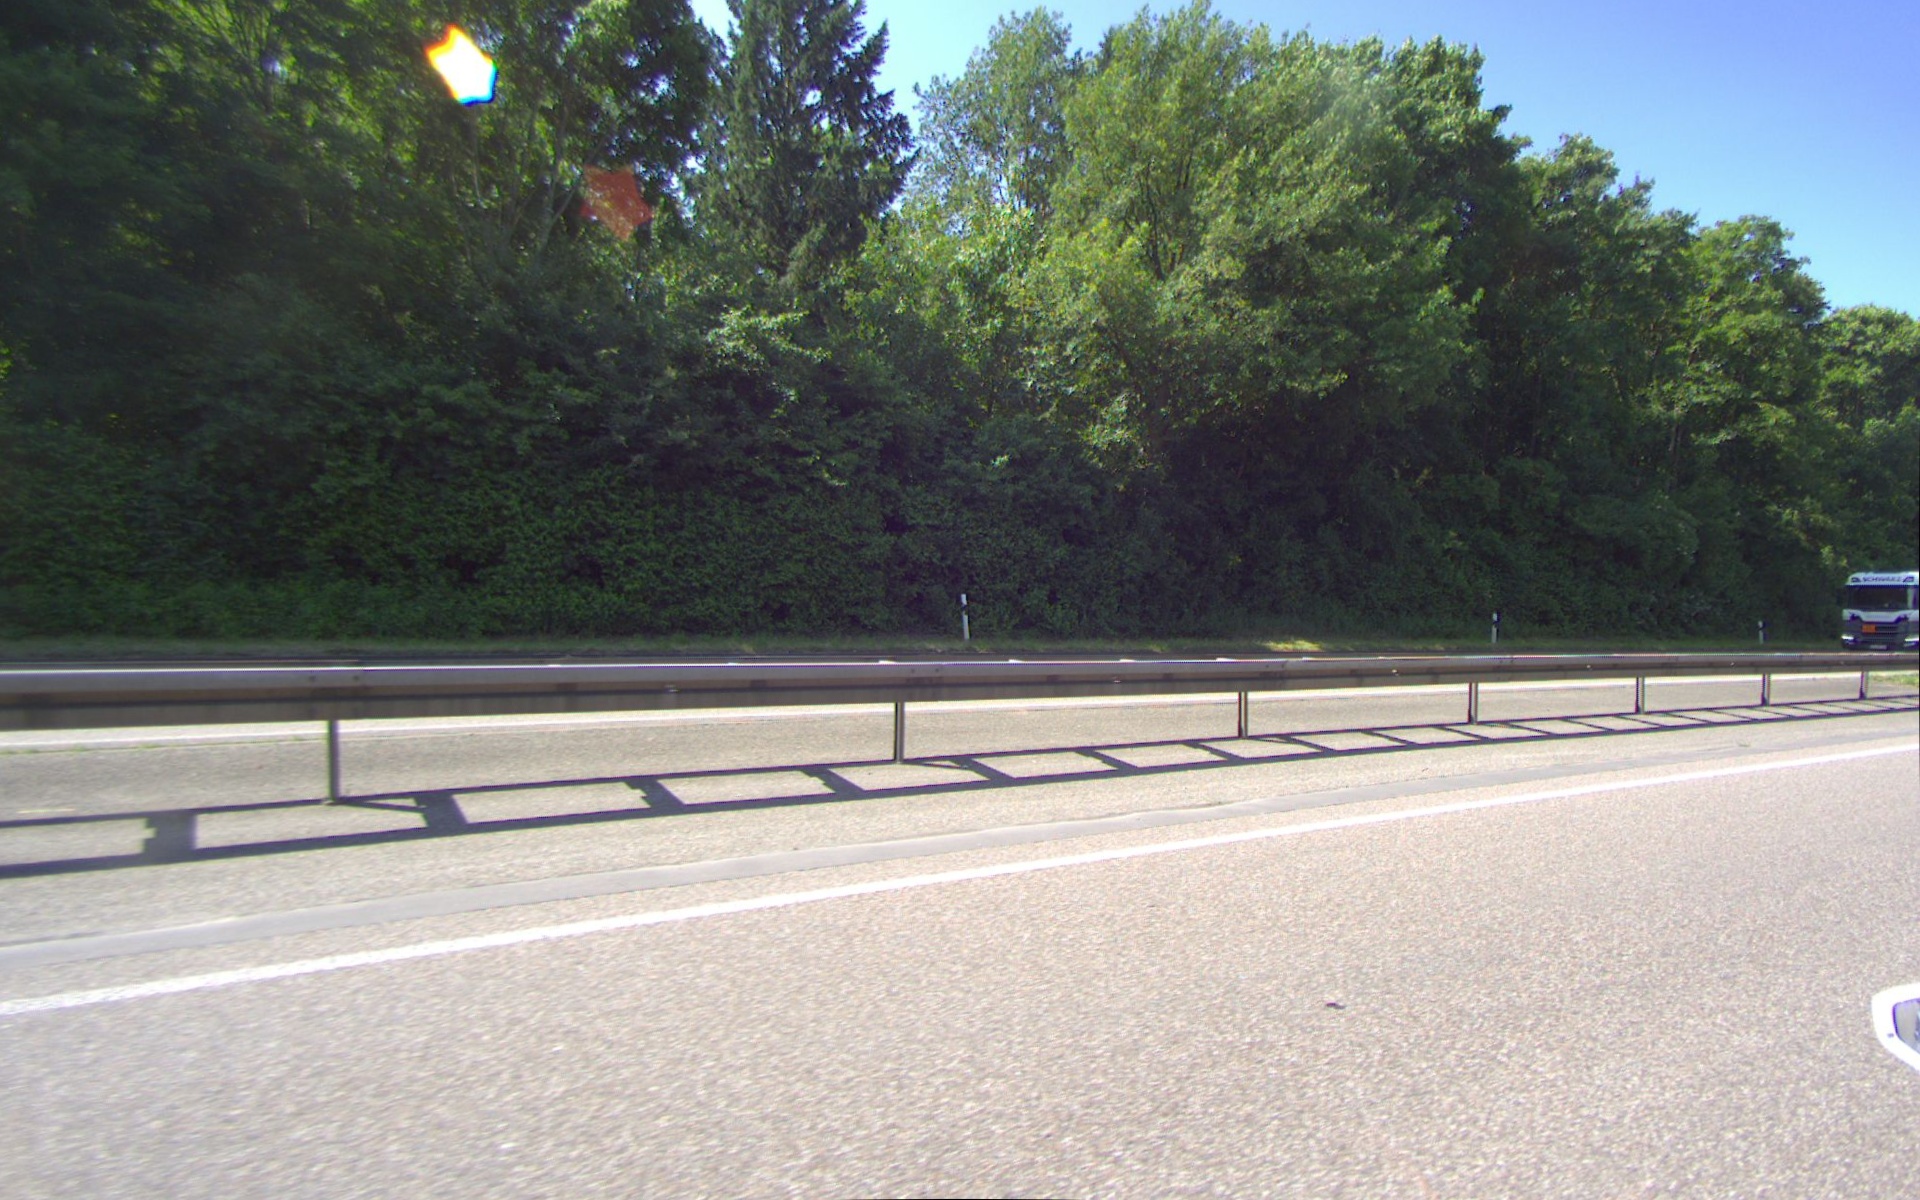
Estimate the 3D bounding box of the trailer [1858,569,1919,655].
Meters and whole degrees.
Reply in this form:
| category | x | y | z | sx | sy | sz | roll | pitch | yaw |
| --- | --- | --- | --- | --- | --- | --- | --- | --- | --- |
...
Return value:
| category | x | y | z | sx | sy | sz | roll | pitch | yaw |
| --- | --- | --- | --- | --- | --- | --- | --- | --- | --- |
| trailer | 42.661 | 0.616 | 42.619 | 14.262 | 3.278 | 2.481 | 2 | 0 | -30 |

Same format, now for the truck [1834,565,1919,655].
| category | x | y | z | sx | sy | sz | roll | pitch | yaw |
| --- | --- | --- | --- | --- | --- | --- | --- | --- | --- |
| truck | 36.161 | 0.406 | 38.808 | 3.953 | 3.302 | 2.413 | 1 | 0 | -30 |
